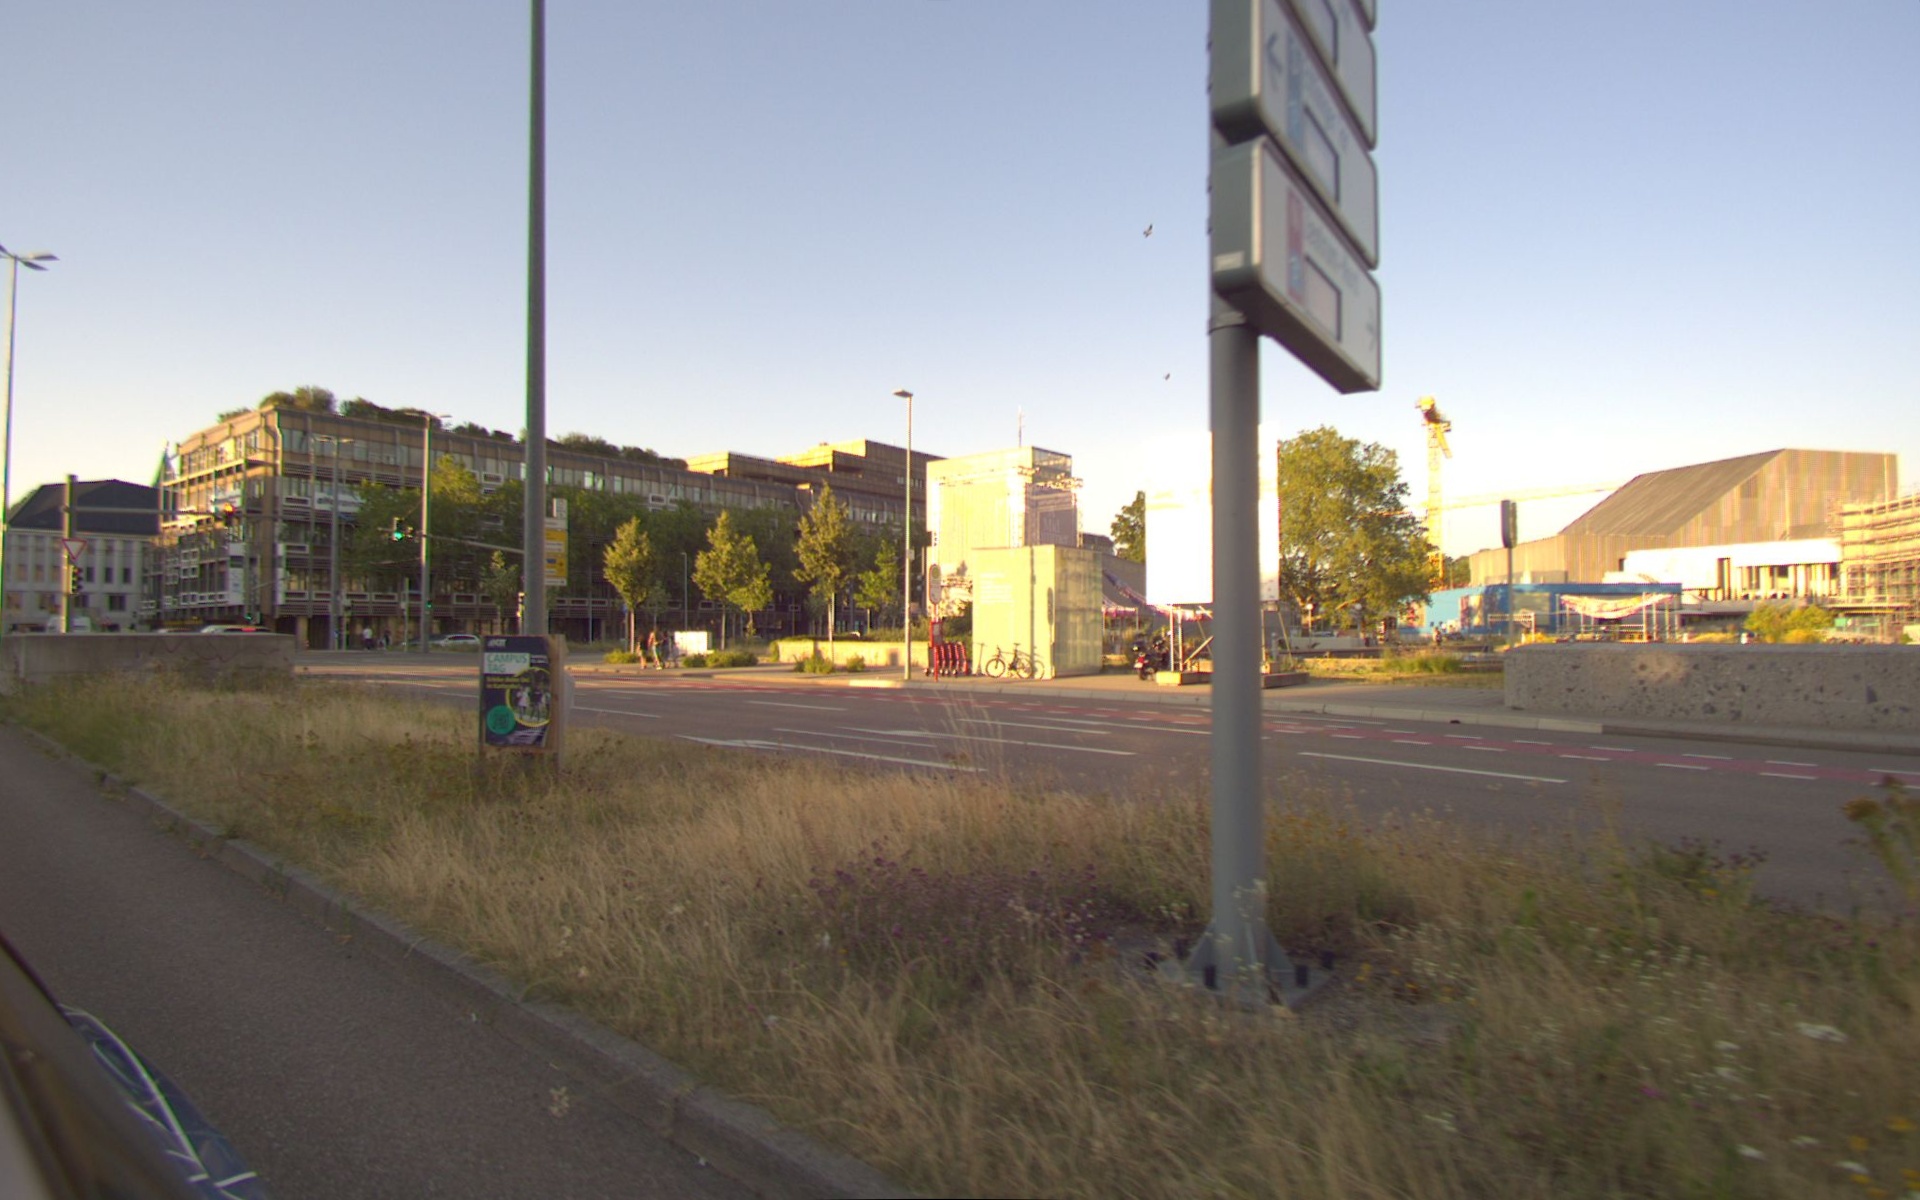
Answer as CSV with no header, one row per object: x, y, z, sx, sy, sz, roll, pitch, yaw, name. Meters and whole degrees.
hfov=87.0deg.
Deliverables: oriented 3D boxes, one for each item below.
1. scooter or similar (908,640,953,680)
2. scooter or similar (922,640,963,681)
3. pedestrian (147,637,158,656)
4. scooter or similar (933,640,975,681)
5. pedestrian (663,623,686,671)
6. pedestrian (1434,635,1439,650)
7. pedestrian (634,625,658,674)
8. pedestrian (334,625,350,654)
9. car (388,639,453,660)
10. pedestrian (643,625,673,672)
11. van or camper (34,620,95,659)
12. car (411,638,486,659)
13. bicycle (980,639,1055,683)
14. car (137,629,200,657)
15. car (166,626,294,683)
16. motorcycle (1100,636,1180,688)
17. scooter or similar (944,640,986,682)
-0.985,2.002,33.980,0.499,1.315,1.842,-1,-2,35,scooter or similar
-0.561,2.000,33.699,0.416,1.315,1.772,-1,-2,35,scooter or similar
-71.404,4.105,89.491,0.650,1.726,0.643,-3,-4,43,pedestrian
-0.178,1.985,33.403,0.422,1.315,1.814,-1,-2,35,scooter or similar
-11.604,1.912,41.160,0.647,1.948,0.652,-3,-4,43,pedestrian
43.929,3.919,93.345,0.380,1.418,0.572,-1,-2,20,pedestrian
-12.756,1.993,41.138,0.775,1.948,0.624,-2,-2,41,pedestrian
-41.199,2.612,67.469,0.680,1.946,0.636,-1,-3,38,pedestrian
-44.541,4.082,83.585,1.856,1.663,4.343,-3,-3,39,car
-12.061,1.941,40.444,0.775,1.851,0.862,-2,-3,42,pedestrian
-64.494,2.872,72.869,6.155,2.687,2.205,-3,-3,39,van or camper
-41.536,3.918,82.225,1.999,1.597,5.093,-3,-3,41,car
1.784,1.898,31.944,2.507,1.334,0.611,-2,-3,40,bicycle
-45.427,2.461,58.081,3.989,1.538,1.622,-1,-2,34,car
-20.494,1.495,28.359,4.534,1.477,1.867,-2,-3,40,car
5.346,1.791,29.847,0.839,1.393,3.200,-2,-1,39,motorcycle
0.176,1.971,33.139,0.422,1.315,1.819,-1,-2,35,scooter or similar
